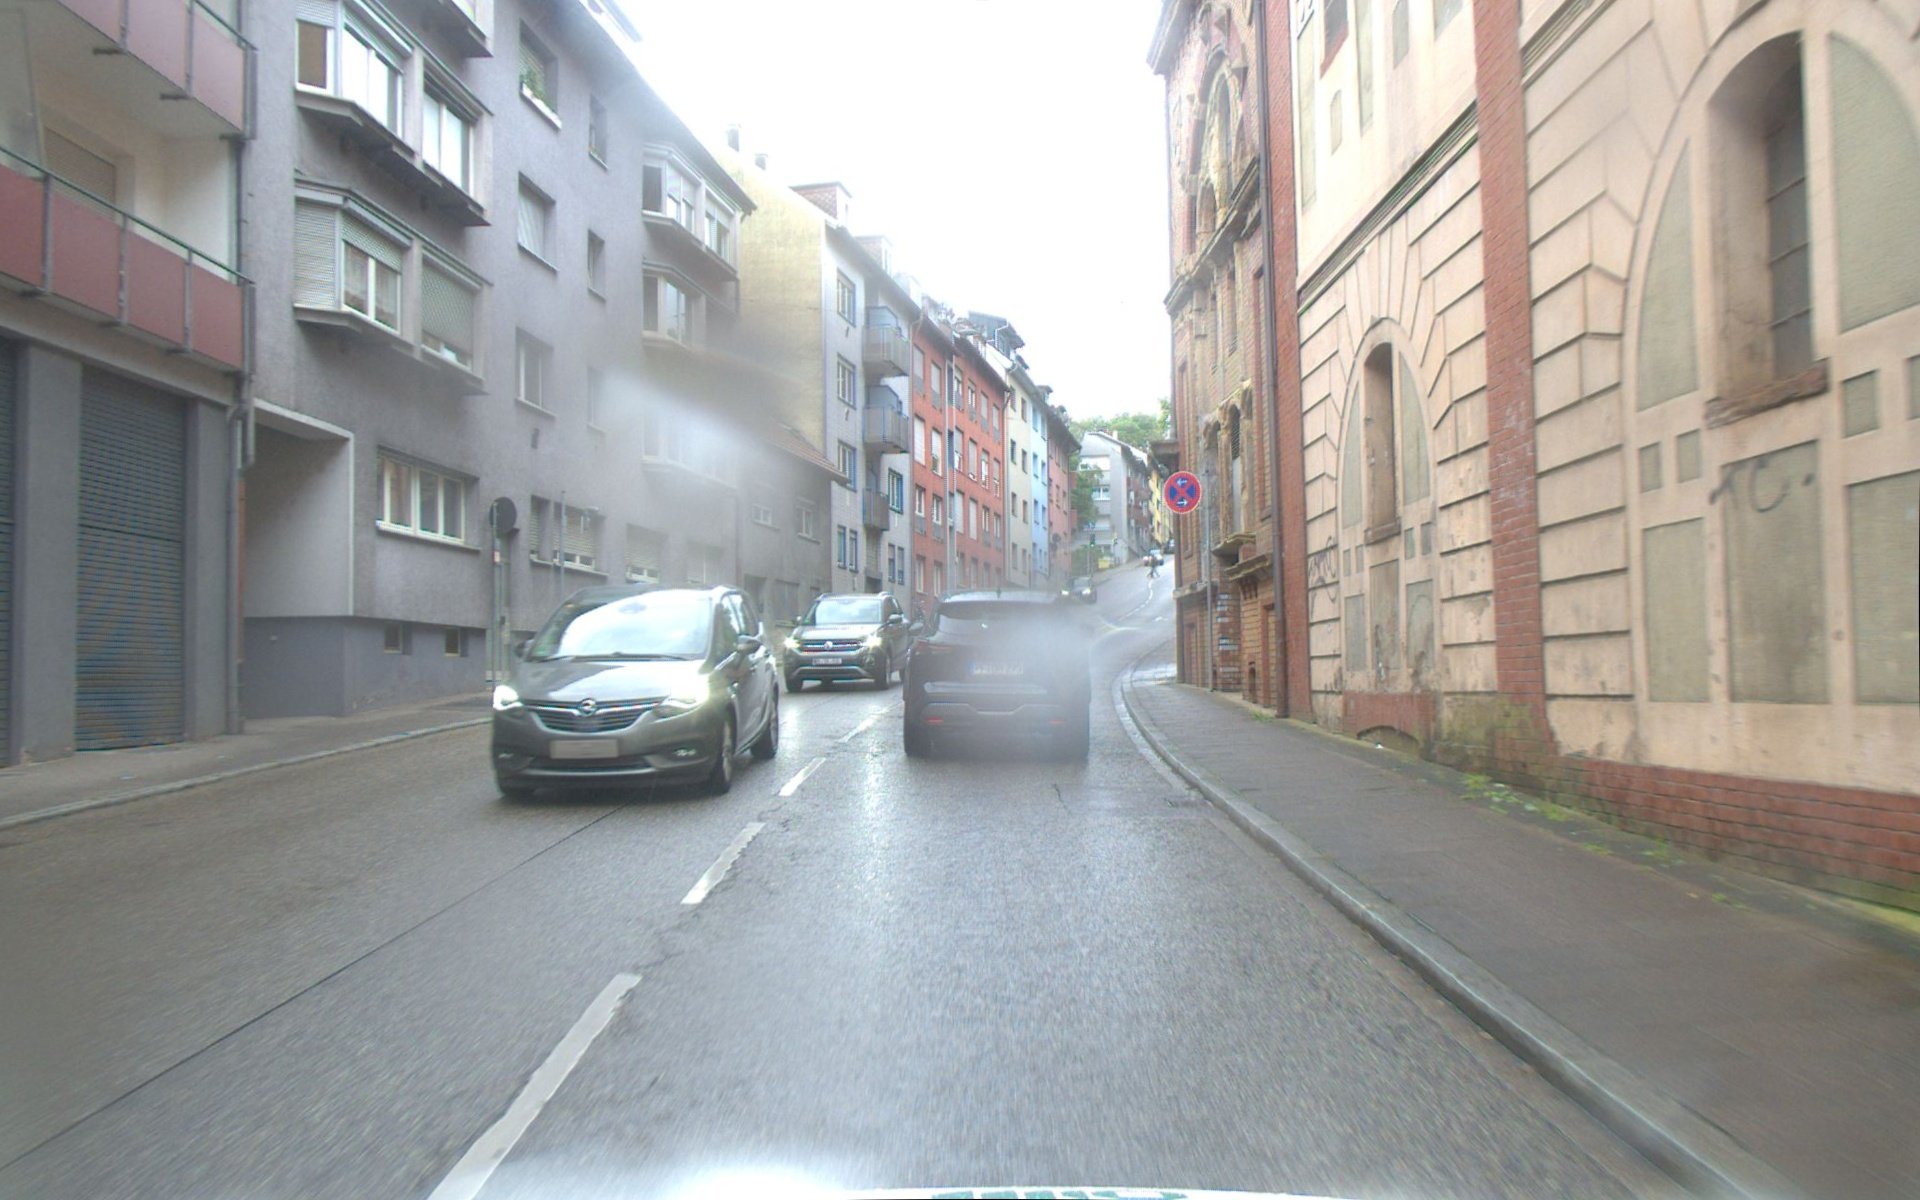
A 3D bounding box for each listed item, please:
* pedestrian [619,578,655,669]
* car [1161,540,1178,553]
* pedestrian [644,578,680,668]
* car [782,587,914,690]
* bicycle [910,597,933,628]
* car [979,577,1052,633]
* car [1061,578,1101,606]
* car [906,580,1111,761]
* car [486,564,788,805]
[{"bbox_3d":[-6.566,0.473,33.601,0.512,1.807,0.623,-2,0,5],"label":"pedestrian"},{"bbox_3d":[24.999,-6.371,196.875,1.756,1.536,4.004,-1,1,10],"label":"car"},{"bbox_3d":[-6.035,0.461,33.541,0.512,1.807,0.623,-2,0,5],"label":"pedestrian"},{"bbox_3d":[-1.842,0.619,28.351,1.727,1.604,3.766,-2,0,4],"label":"car"},{"bbox_3d":[-1.502,0.495,64.260,0.488,1.127,1.802,-1,1,11],"label":"bicycle"},{"bbox_3d":[1.752,0.140,50.935,1.726,1.604,4.039,-2,0,9],"label":"car"},{"bbox_3d":[6.686,-0.455,91.122,1.609,1.402,3.854,-2,0,13],"label":"car"},{"bbox_3d":[0.424,0.637,16.948,1.843,1.622,3.920,0,0,-1],"label":"car"},{"bbox_3d":[-2.528,0.615,13.899,1.728,1.686,3.987,-1,0,0],"label":"car"}]
